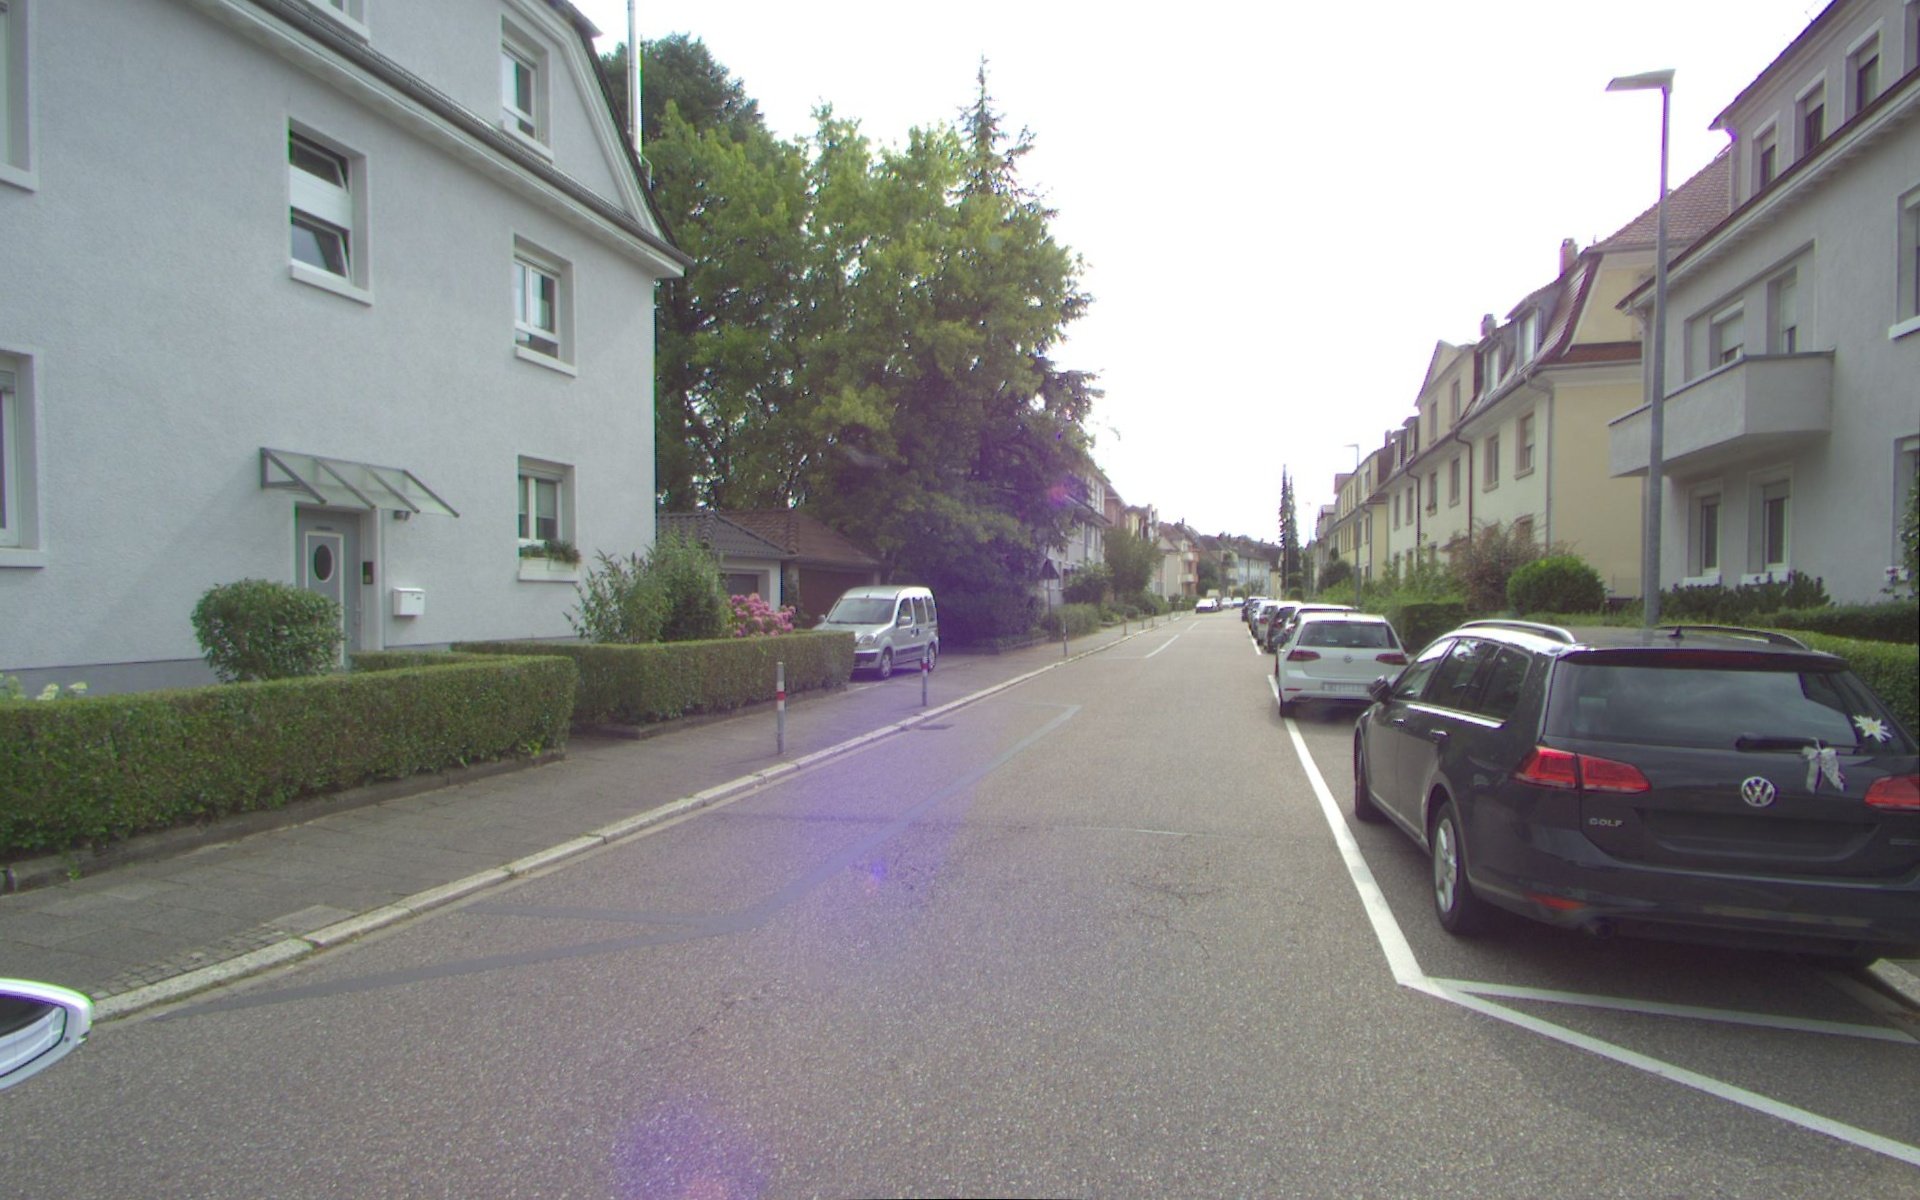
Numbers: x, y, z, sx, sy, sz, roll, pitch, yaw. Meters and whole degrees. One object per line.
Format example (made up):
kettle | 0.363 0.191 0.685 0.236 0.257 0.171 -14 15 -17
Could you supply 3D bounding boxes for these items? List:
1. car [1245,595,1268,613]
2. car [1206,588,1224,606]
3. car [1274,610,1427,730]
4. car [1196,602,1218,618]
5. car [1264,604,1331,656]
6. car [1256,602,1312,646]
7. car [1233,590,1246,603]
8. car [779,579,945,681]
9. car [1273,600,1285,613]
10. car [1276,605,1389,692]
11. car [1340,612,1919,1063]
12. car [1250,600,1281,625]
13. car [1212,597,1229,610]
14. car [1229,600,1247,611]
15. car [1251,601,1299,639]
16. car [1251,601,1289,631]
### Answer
car | 26.003 0.346 87.846 1.826 1.599 4.169 0 0 16
car | 30.786 -0.352 120.793 1.964 2.040 3.993 0 0 18
car | 5.724 0.919 15.113 1.826 1.491 4.168 0 0 17
car | 26.812 1.108 108.695 1.965 1.662 3.992 0 0 19
car | 10.378 0.872 31.031 1.826 1.491 4.168 0 0 17
car | 11.699 0.823 36.314 1.826 1.491 4.168 0 0 17
car | 49.565 -0.619 177.677 1.965 2.152 3.992 0 0 19
car | -1.858 0.544 20.385 1.964 1.862 3.993 0 0 17
car | 52.281 1.056 164.158 1.964 2.040 3.849 -1 0 17
car | 7.249 0.857 19.838 1.826 1.491 4.168 0 0 17
car | 3.409 0.843 5.548 1.825 1.491 4.171 0 0 12
car | 19.558 0.766 64.198 1.826 1.491 4.168 0 0 17
car | 35.550 0.491 136.474 1.965 1.662 3.992 0 0 19
car | 41.391 0.779 149.195 1.967 1.556 3.987 -1 0 24
car | 13.212 0.793 42.058 1.826 1.491 4.168 0 0 17
car | 16.207 0.806 52.440 1.826 1.491 4.168 0 0 17
